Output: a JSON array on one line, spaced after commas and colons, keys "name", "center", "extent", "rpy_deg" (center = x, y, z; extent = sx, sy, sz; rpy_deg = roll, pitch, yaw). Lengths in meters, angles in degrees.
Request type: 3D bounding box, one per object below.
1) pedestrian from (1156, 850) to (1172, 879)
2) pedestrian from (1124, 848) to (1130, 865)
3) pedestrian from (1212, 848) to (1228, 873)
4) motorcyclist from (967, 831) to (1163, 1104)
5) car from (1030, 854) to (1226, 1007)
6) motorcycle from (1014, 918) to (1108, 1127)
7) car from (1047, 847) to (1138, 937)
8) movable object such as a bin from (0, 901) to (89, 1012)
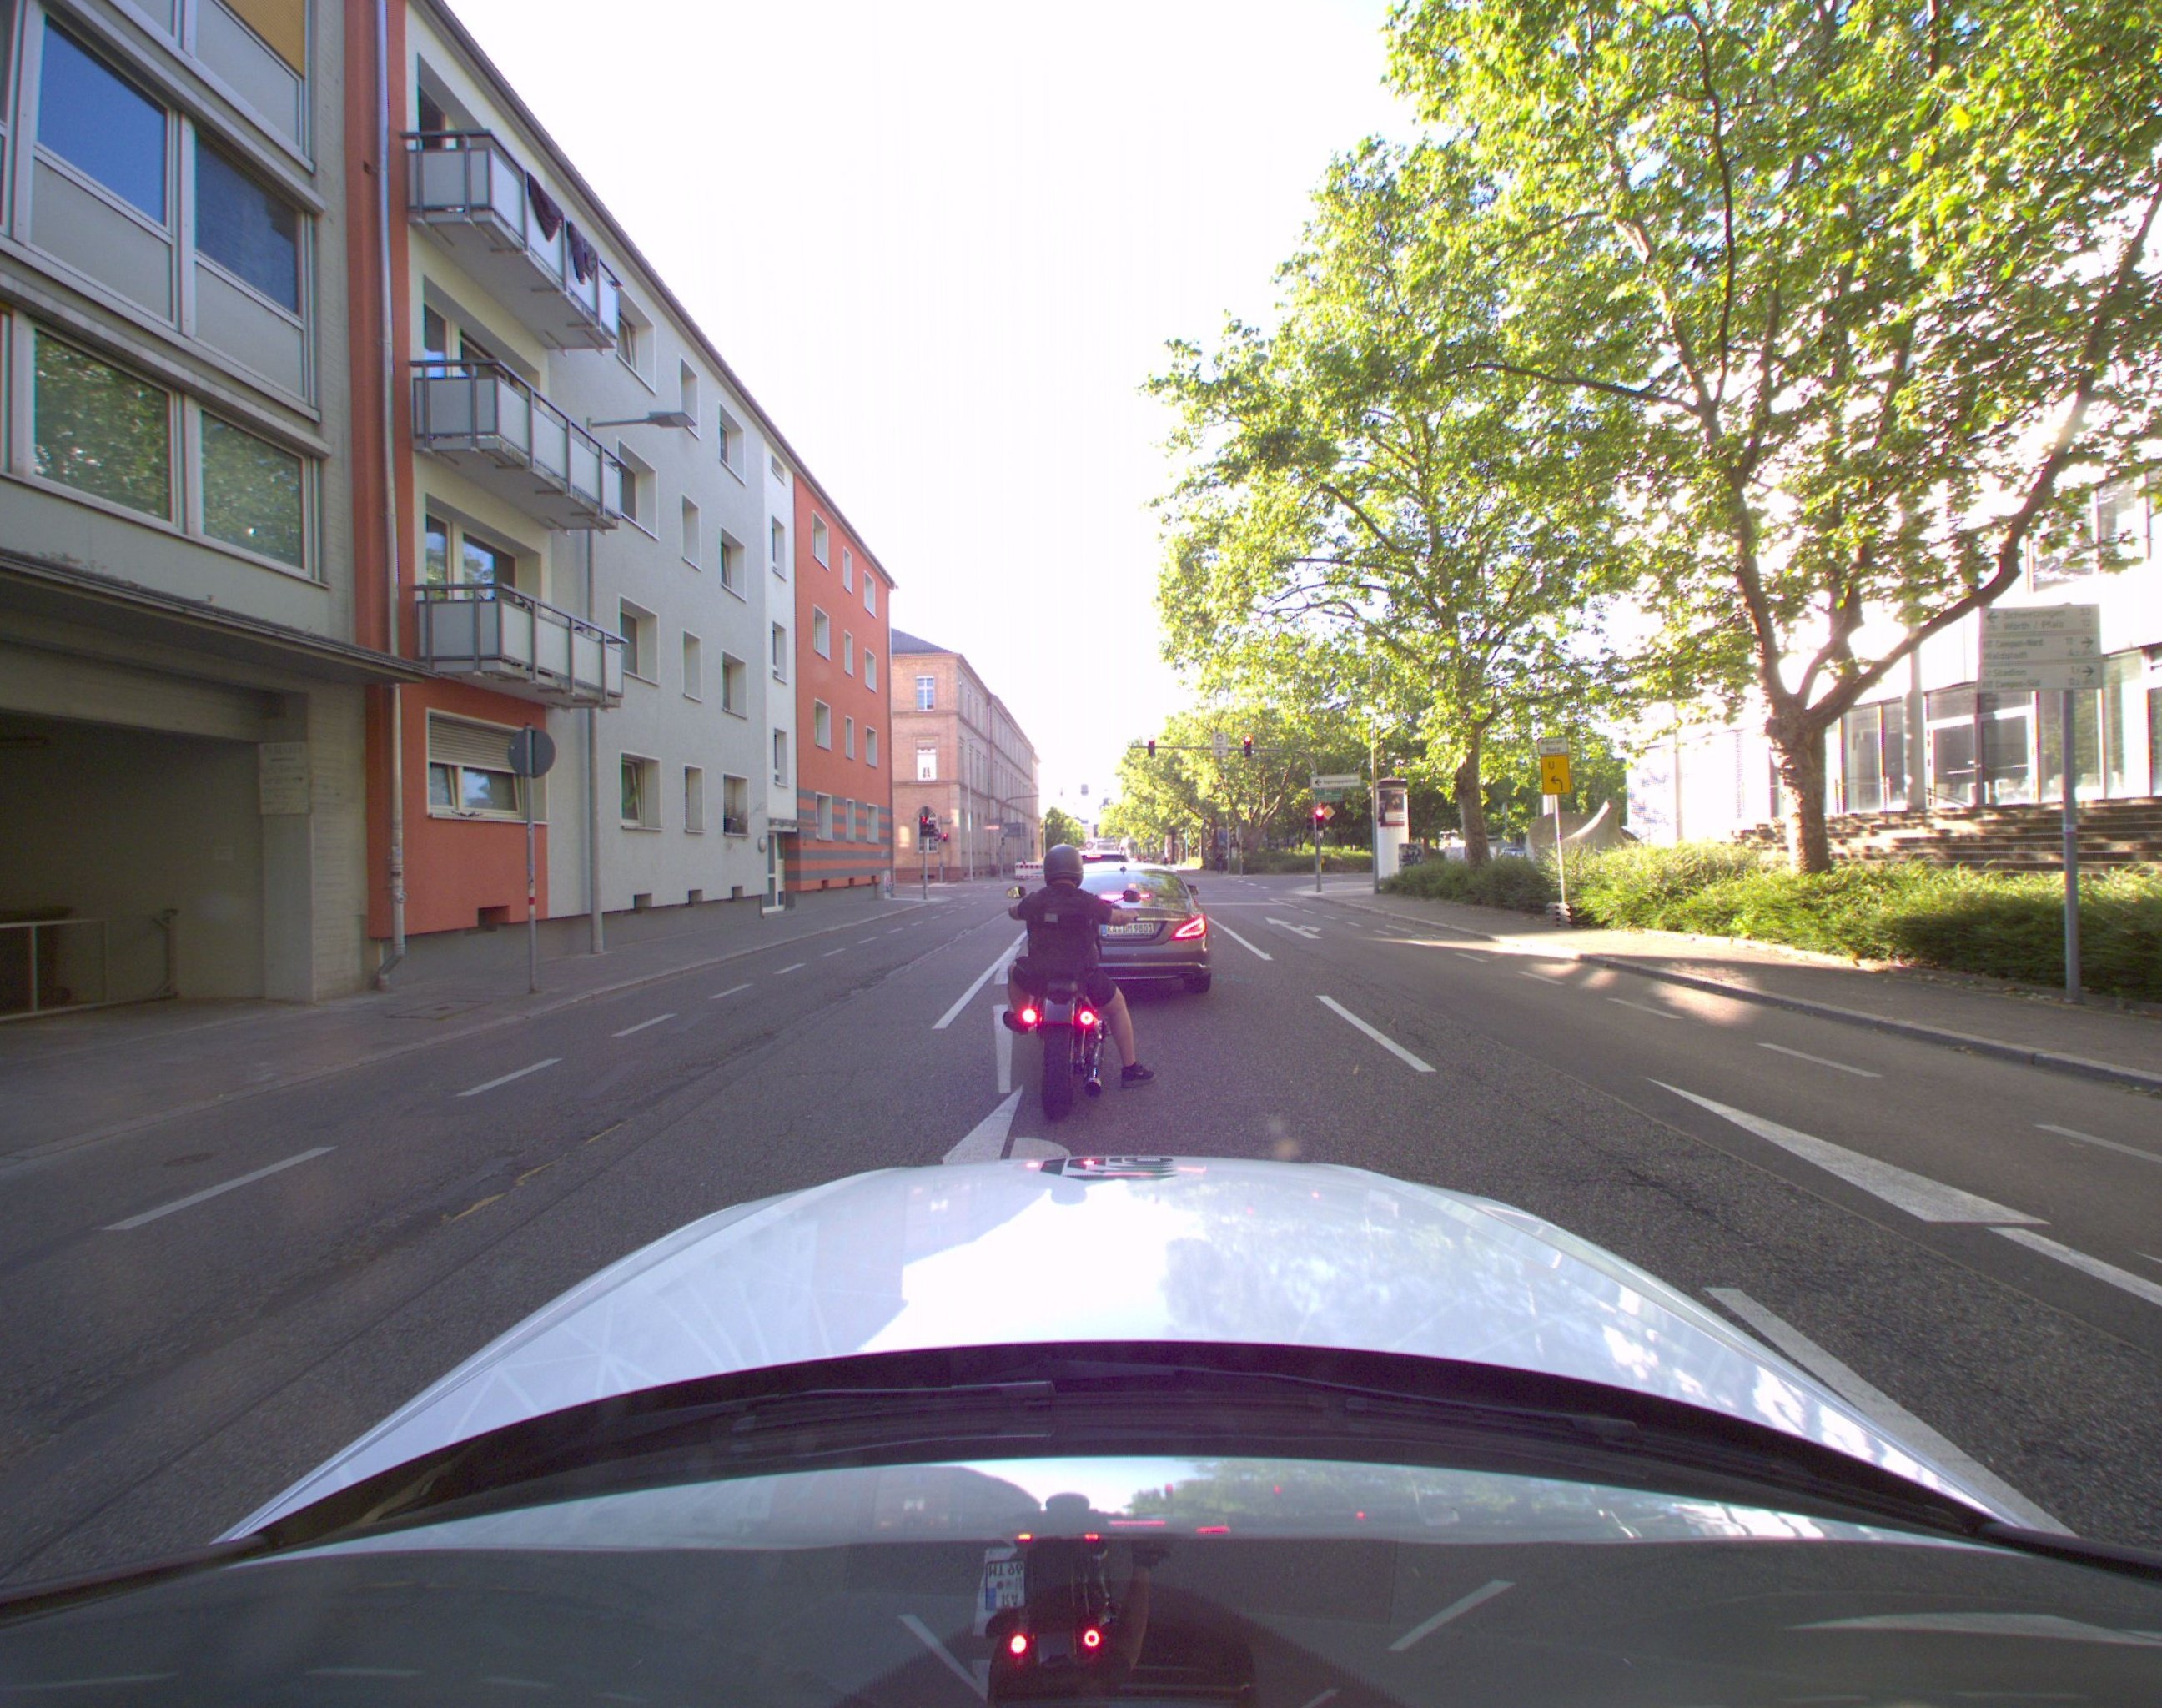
[{"name": "pedestrian", "center": [5.362, 0.657, 52.647], "extent": [0.996, 1.826, 1.078], "rpy_deg": [0, -1, 8]}, {"name": "pedestrian", "center": [5.739, 0.279, 100.965], "extent": [0.761, 2.051, 0.712], "rpy_deg": [0, -1, 1]}, {"name": "pedestrian", "center": [10.445, 0.495, 61.181], "extent": [0.753, 1.910, 0.918], "rpy_deg": [0, -1, -26]}, {"name": "motorcyclist", "center": [-0.073, 0.673, 5.433], "extent": [1.145, 1.598, 1.288], "rpy_deg": [0, -1, 1]}, {"name": "car", "center": [0.516, 0.740, 9.746], "extent": [1.875, 1.449, 3.821], "rpy_deg": [0, 0, 2]}, {"name": "motorcycle", "center": [-0.077, 1.006, 5.488], "extent": [0.511, 1.002, 2.014], "rpy_deg": [0, -1, 2]}, {"name": "car", "center": [0.276, 0.694, 16.874], "extent": [1.615, 1.594, 4.002], "rpy_deg": [-1, 0, 2]}, {"name": "movable object such as a bin", "center": [-11.258, 1.062, 8.651], "extent": [0.626, 1.100, 0.659], "rpy_deg": [0, -1, 4]}]
